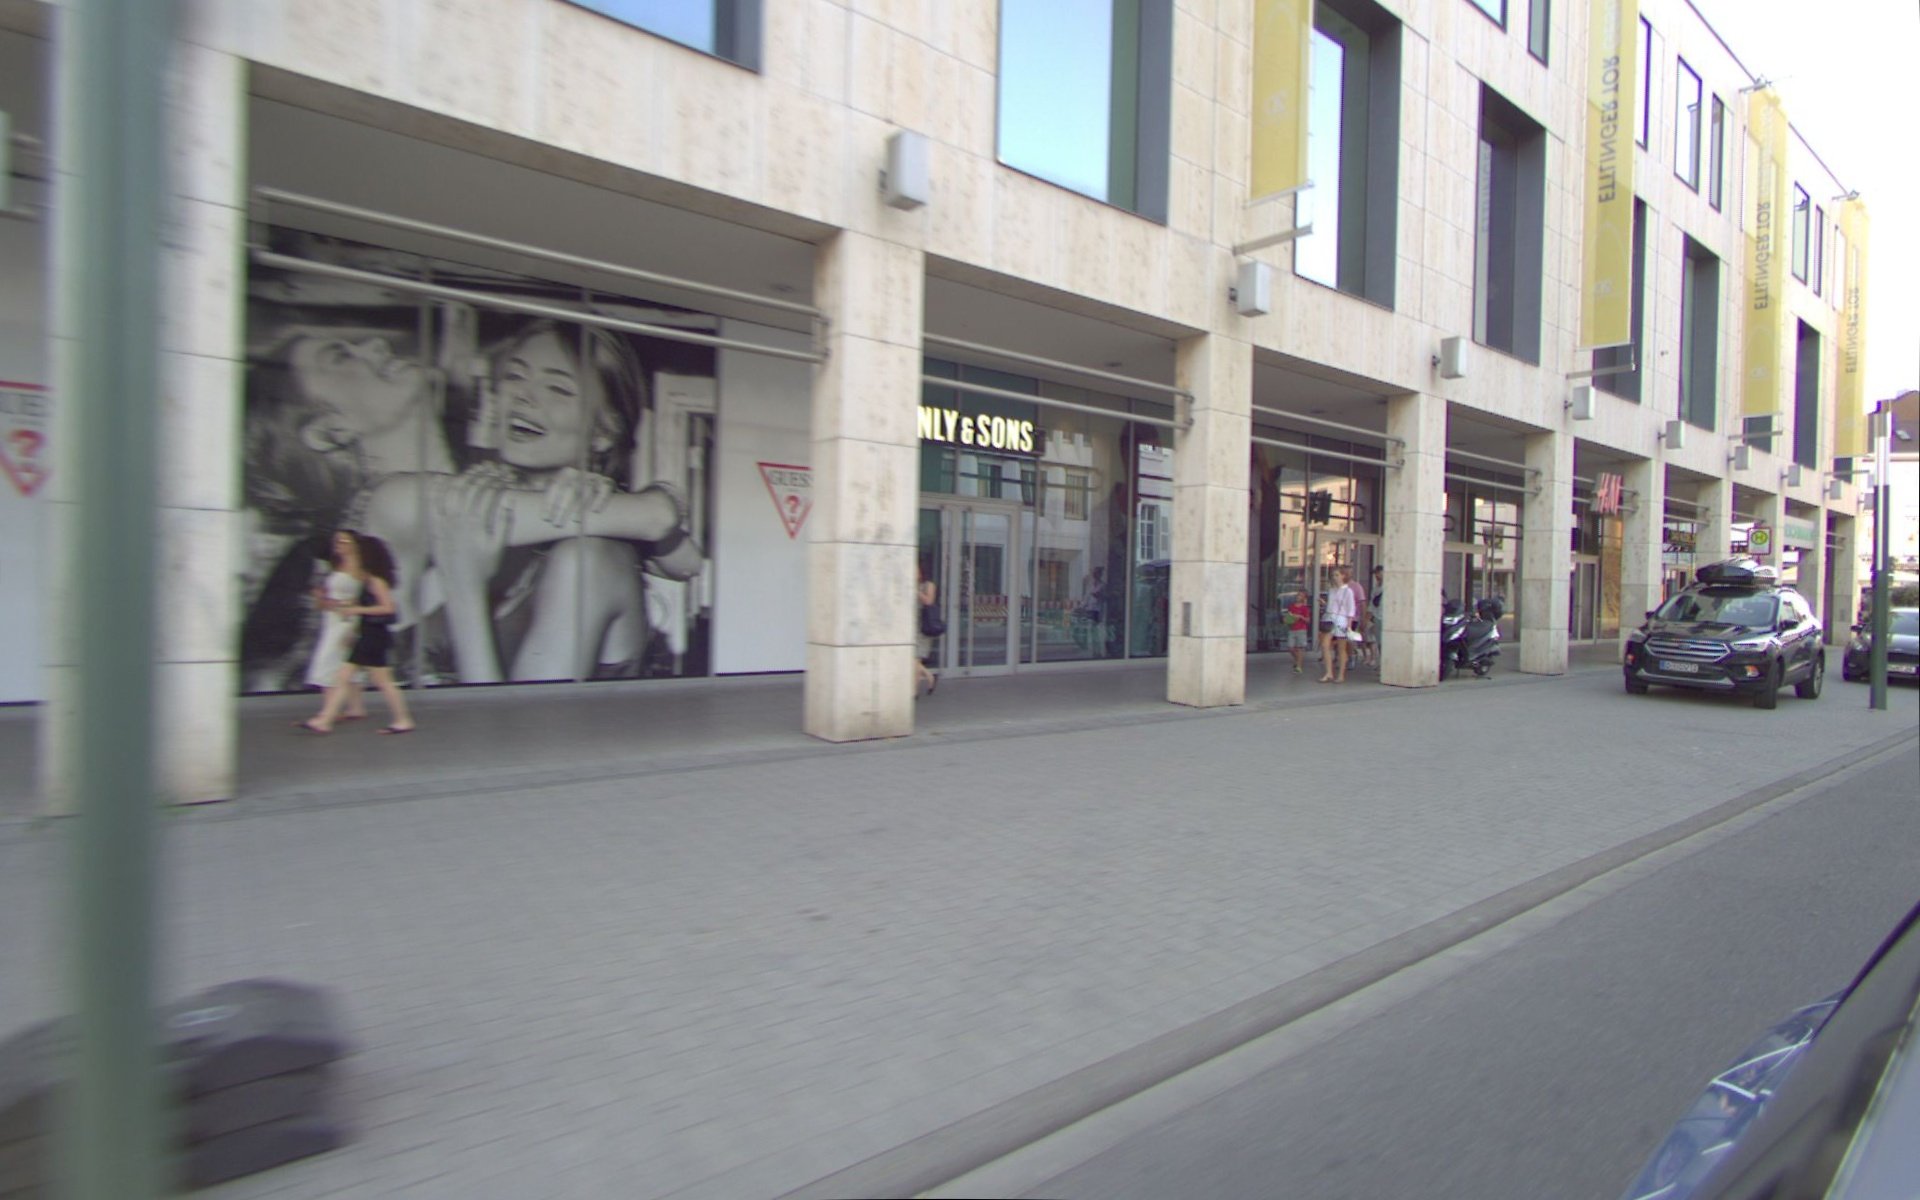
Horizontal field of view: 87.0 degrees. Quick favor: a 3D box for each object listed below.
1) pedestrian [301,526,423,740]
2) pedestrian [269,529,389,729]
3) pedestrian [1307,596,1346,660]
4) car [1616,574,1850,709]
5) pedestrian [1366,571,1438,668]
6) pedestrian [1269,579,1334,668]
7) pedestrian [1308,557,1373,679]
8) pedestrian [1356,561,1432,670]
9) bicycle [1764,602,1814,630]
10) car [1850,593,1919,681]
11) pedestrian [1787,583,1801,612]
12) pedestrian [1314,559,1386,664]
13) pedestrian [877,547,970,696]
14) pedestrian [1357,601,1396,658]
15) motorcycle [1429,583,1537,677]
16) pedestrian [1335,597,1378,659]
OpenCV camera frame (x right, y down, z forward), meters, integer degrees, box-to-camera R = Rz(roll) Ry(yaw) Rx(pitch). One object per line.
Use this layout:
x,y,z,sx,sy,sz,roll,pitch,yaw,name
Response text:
-4.662,0.232,7.884,0.715,1.561,0.726,0,1,-39,pedestrian
-5.230,0.218,8.389,0.761,1.562,0.635,0,1,-39,pedestrian
6.542,0.504,18.064,0.516,1.111,0.420,3,-1,-39,pedestrian
11.603,0.521,15.114,3.984,1.657,1.774,0,5,-39,car
7.515,0.324,17.204,0.861,1.587,0.766,3,0,-39,pedestrian
5.432,0.364,16.098,0.761,1.363,0.635,3,0,-39,pedestrian
5.515,0.249,14.682,0.684,1.720,0.592,1,1,-41,pedestrian
7.027,0.239,16.384,0.861,1.703,0.766,3,0,-39,pedestrian
35.860,0.689,43.784,1.866,1.142,0.608,3,0,-14,bicycle
18.889,0.692,19.527,4.117,1.508,1.801,0,5,-39,car
54.301,-0.148,65.869,0.705,1.841,0.509,0,1,-37,pedestrian
6.568,0.193,17.051,0.861,1.703,0.766,3,0,-39,pedestrian
-0.406,0.233,11.306,0.761,1.587,0.635,3,-1,-39,pedestrian
7.493,0.534,18.206,0.516,0.998,0.420,3,0,-39,pedestrian
8.457,0.454,16.320,2.096,1.434,0.695,0,1,-37,motorcycle
7.348,0.511,18.773,0.591,1.111,0.488,3,0,-39,pedestrian
